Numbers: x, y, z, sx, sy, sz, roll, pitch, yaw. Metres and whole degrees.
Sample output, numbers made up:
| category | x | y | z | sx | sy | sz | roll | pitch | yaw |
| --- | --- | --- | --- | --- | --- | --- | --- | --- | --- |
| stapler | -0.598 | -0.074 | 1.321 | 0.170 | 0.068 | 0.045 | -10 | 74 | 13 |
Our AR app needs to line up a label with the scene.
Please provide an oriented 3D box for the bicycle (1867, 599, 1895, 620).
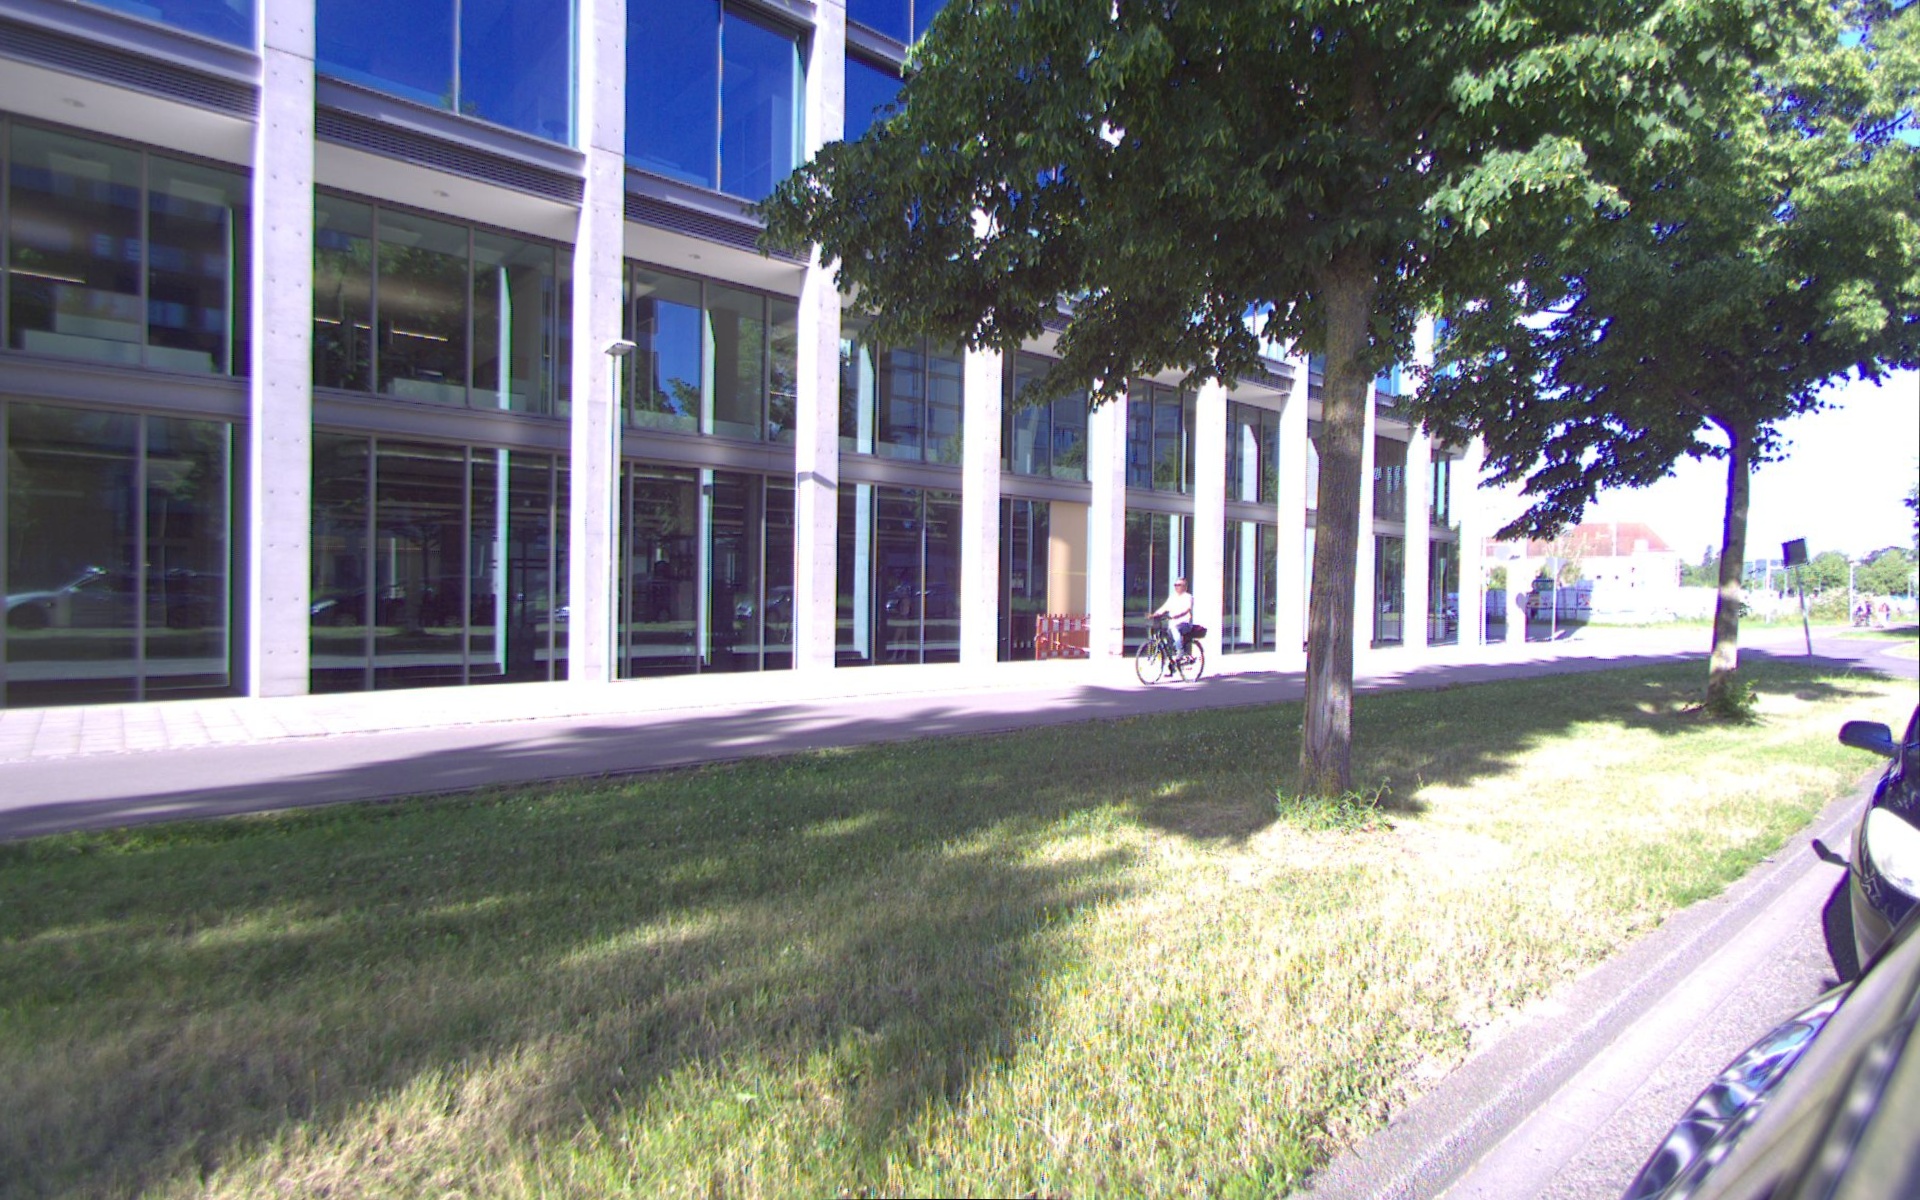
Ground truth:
| category | x | y | z | sx | sy | sz | roll | pitch | yaw |
| --- | --- | --- | --- | --- | --- | --- | --- | --- | --- |
| bicycle | 62.671 | 0.637 | 68.871 | 3.930 | 1.380 | 0.930 | 0 | 1 | -41 |

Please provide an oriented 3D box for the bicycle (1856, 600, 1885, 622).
| category | x | y | z | sx | sy | sz | roll | pitch | yaw |
| --- | --- | --- | --- | --- | --- | --- | --- | --- | --- |
| bicycle | 59.418 | 0.673 | 66.042 | 3.930 | 1.380 | 0.930 | 0 | 1 | -41 |

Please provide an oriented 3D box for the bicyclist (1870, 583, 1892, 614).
| category | x | y | z | sx | sy | sz | roll | pitch | yaw |
| --- | --- | --- | --- | --- | --- | --- | --- | --- | --- |
| bicyclist | 62.565 | -0.106 | 68.740 | 1.101 | 2.082 | 0.930 | 0 | 0 | -41 |

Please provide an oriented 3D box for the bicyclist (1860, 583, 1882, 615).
| category | x | y | z | sx | sy | sz | roll | pitch | yaw |
| --- | --- | --- | --- | --- | --- | --- | --- | --- | --- |
| bicyclist | 59.512 | -0.073 | 66.104 | 1.101 | 2.082 | 0.930 | 0 | 0 | -41 |

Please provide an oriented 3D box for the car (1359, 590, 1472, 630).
| category | x | y | z | sx | sy | sz | roll | pitch | yaw |
| --- | --- | --- | --- | --- | --- | --- | --- | --- | --- |
| car | 19.528 | 0.389 | 43.497 | 1.963 | 1.598 | 3.997 | 0 | 1 | -38 |

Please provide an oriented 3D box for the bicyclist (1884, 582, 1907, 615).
| category | x | y | z | sx | sy | sz | roll | pitch | yaw |
| --- | --- | --- | --- | --- | --- | --- | --- | --- | --- |
| bicyclist | 60.420 | -0.099 | 65.348 | 1.101 | 2.082 | 0.930 | 0 | 0 | -41 |

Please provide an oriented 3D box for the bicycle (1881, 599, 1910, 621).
| category | x | y | z | sx | sy | sz | roll | pitch | yaw |
| --- | --- | --- | --- | --- | --- | --- | --- | --- | --- |
| bicycle | 60.412 | 0.646 | 65.347 | 3.930 | 1.380 | 0.930 | 0 | 1 | -41 |

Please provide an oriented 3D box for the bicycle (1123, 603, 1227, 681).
| category | x | y | z | sx | sy | sz | roll | pitch | yaw |
| --- | --- | --- | --- | --- | --- | --- | --- | --- | --- |
| bicycle | 3.542 | 0.665 | 16.576 | 1.894 | 1.170 | 0.591 | 1 | 2 | -41 |

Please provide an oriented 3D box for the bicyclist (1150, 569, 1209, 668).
| category | x | y | z | sx | sy | sz | roll | pitch | yaw |
| --- | --- | --- | --- | --- | --- | --- | --- | --- | --- |
| bicyclist | 3.601 | 0.290 | 16.601 | 0.687 | 1.558 | 0.591 | 1 | 2 | -41 |

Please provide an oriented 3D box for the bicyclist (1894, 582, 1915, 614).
| category | x | y | z | sx | sy | sz | roll | pitch | yaw |
| --- | --- | --- | --- | --- | --- | --- | --- | --- | --- |
| bicyclist | 63.502 | -0.133 | 68.036 | 1.101 | 2.082 | 0.930 | 0 | 0 | -41 |

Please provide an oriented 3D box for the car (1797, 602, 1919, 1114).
| category | x | y | z | sx | sy | sz | roll | pitch | yaw |
| --- | --- | --- | --- | --- | --- | --- | --- | --- | --- |
| car | 4.907 | 0.772 | 3.940 | 4.403 | 1.500 | 1.845 | 0 | 1 | -41 |

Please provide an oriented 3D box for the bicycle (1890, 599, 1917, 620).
| category | x | y | z | sx | sy | sz | roll | pitch | yaw |
| --- | --- | --- | --- | --- | --- | --- | --- | --- | --- |
| bicycle | 63.476 | 0.612 | 68.046 | 3.930 | 1.380 | 0.930 | 0 | 1 | -41 |
